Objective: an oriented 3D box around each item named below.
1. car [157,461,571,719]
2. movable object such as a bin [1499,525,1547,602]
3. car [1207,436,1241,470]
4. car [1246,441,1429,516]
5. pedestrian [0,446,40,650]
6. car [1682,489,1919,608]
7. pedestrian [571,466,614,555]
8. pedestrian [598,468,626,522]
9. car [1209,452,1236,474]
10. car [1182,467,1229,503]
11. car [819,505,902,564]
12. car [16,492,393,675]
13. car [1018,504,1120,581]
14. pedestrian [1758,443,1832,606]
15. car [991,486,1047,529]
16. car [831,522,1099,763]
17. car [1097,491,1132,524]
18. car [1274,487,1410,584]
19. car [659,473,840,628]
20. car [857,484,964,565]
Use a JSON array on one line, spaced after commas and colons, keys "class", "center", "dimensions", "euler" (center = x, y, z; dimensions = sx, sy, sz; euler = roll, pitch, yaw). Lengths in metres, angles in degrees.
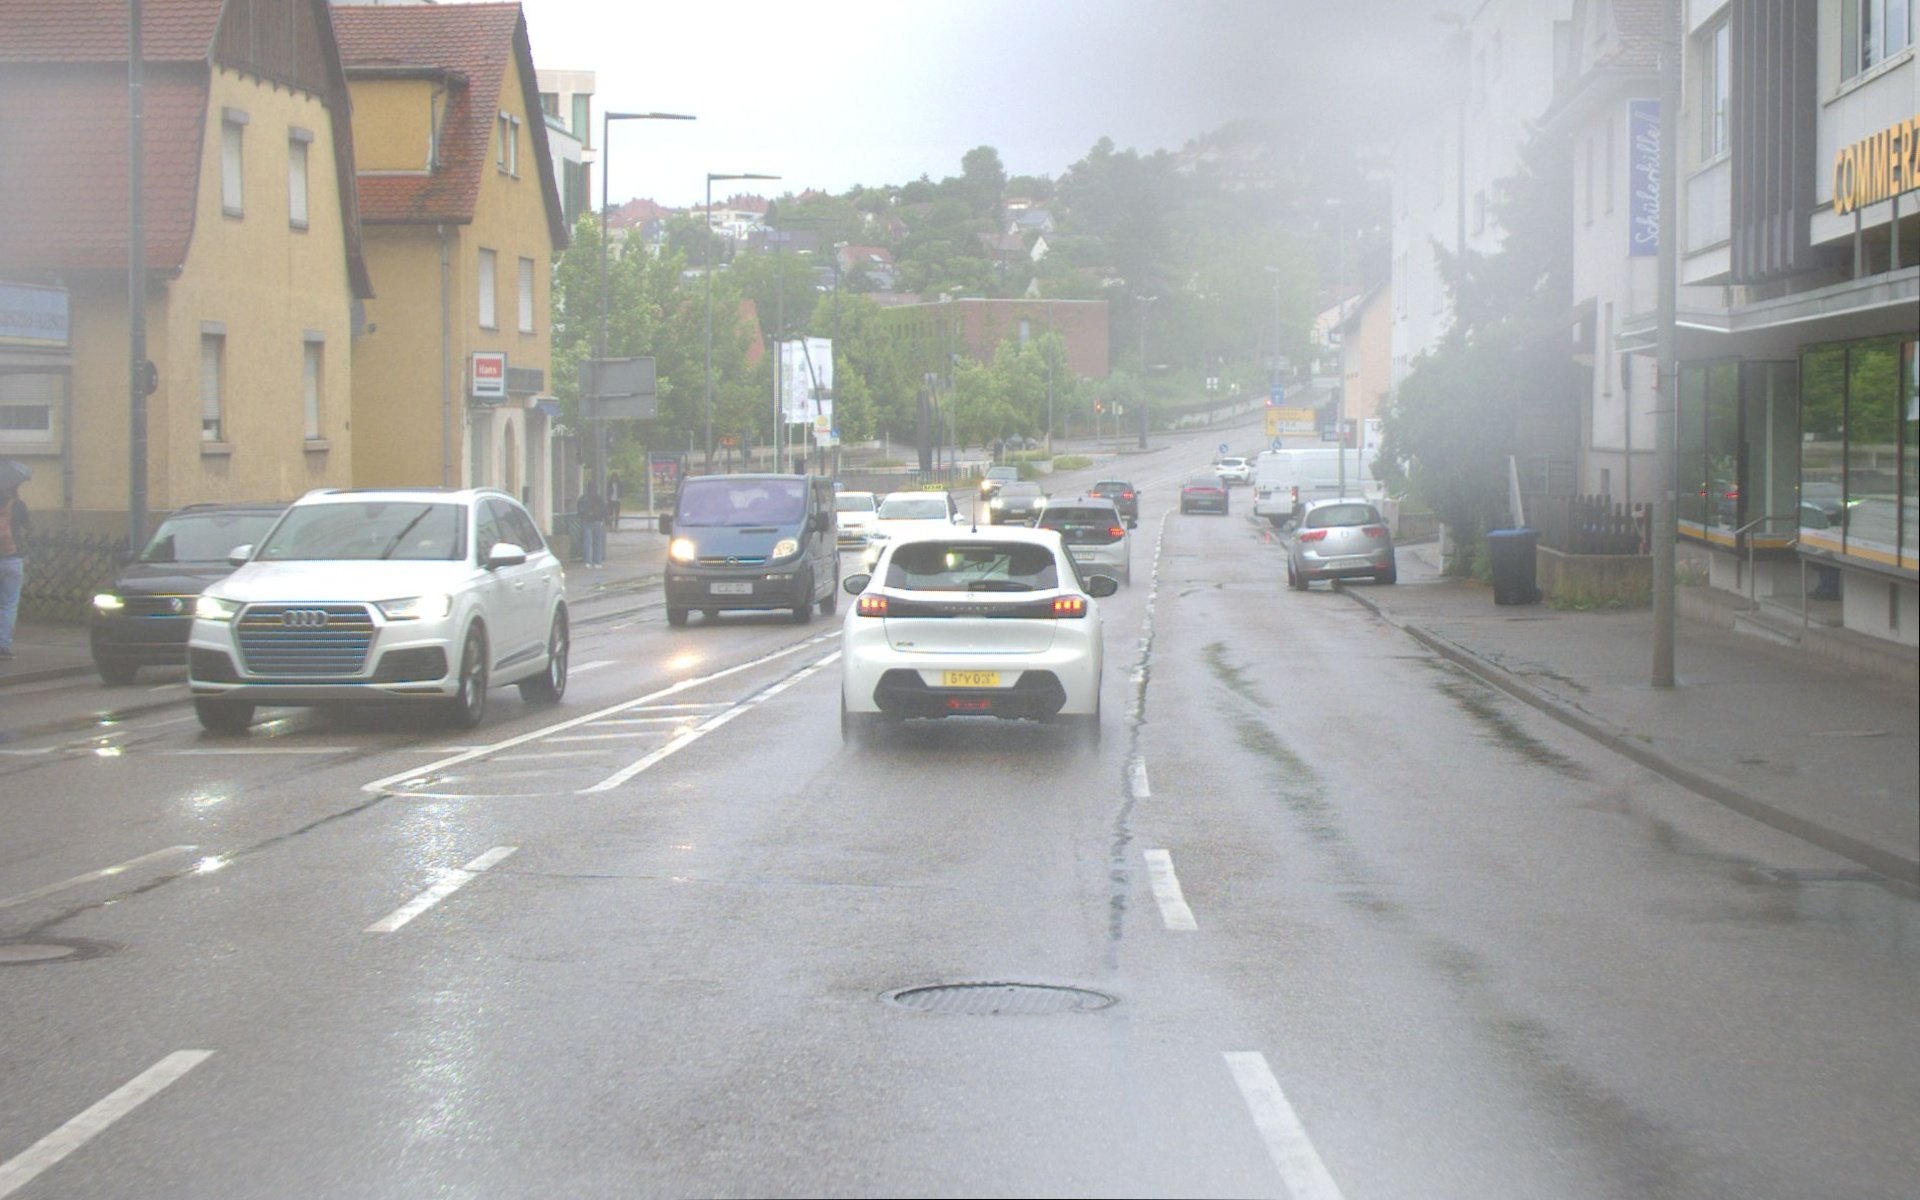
[{"class": "car", "center": [-4.249, -0.101, 25.356], "dimensions": [2.098, 1.706, 4.849], "euler": [0, 1, 1]}, {"class": "movable object such as a bin", "center": [7.936, -0.521, 48.471], "dimensions": [0.576, 1.044, 0.830], "euler": [-1, 3, 3]}, {"class": "car", "center": [16.322, -9.097, 212.698], "dimensions": [1.994, 2.007, 4.000], "euler": [0, 1, 4]}, {"class": "car", "center": [12.447, -3.953, 112.969], "dimensions": [6.607, 2.374, 2.297], "euler": [-1, 1, -45]}, {"class": "pedestrian", "center": [-9.251, -0.509, 32.851], "dimensions": [0.661, 1.914, 0.947], "euler": [2, 1, -4]}, {"class": "car", "center": [11.423, -0.696, 46.294], "dimensions": [1.351, 1.497, 3.340], "euler": [-4, 3, -31]}, {"class": "pedestrian", "center": [-7.415, -1.801, 69.333], "dimensions": [0.800, 1.782, 0.882], "euler": [0, 1, -2]}, {"class": "pedestrian", "center": [-11.273, -3.396, 111.389], "dimensions": [0.808, 1.732, 1.003], "euler": [0, 1, -2]}, {"class": "car", "center": [13.941, -7.281, 182.633], "dimensions": [1.385, 1.122, 2.610], "euler": [0, 1, 4]}, {"class": "car", "center": [9.789, -4.573, 137.202], "dimensions": [1.734, 1.383, 3.352], "euler": [1, 2, 3]}, {"class": "car", "center": [-2.528, -1.670, 88.375], "dimensions": [1.649, 1.413, 4.138], "euler": [-2, 1, 4]}, {"class": "car", "center": [-7.113, -0.183, 32.954], "dimensions": [2.001, 1.612, 4.947], "euler": [0, 1, 7]}, {"class": "car", "center": [1.937, -1.039, 60.758], "dimensions": [1.741, 1.291, 3.334], "euler": [0, 2, 2]}, {"class": "pedestrian", "center": [9.220, -0.846, 37.984], "dimensions": [0.729, 1.774, 0.952], "euler": [1, 3, 11]}, {"class": "car", "center": [2.040, -3.158, 117.612], "dimensions": [1.768, 1.409, 4.525], "euler": [0, 1, 3]}, {"class": "car", "center": [0.109, 0.242, 23.625], "dimensions": [1.691, 1.514, 3.933], "euler": [0, 1, 2]}, {"class": "car", "center": [5.522, -3.309, 123.022], "dimensions": [1.213, 1.152, 2.270], "euler": [0, 1, 1]}, {"class": "car", "center": [6.736, -1.114, 61.034], "dimensions": [2.011, 1.616, 4.360], "euler": [1, 0, 1]}, {"class": "car", "center": [-2.727, -0.657, 45.704], "dimensions": [1.965, 1.931, 5.179], "euler": [0, 1, 1]}, {"class": "car", "center": [-0.981, -1.532, 70.427], "dimensions": [1.878, 1.603, 4.718], "euler": [0, 1, 3]}]
